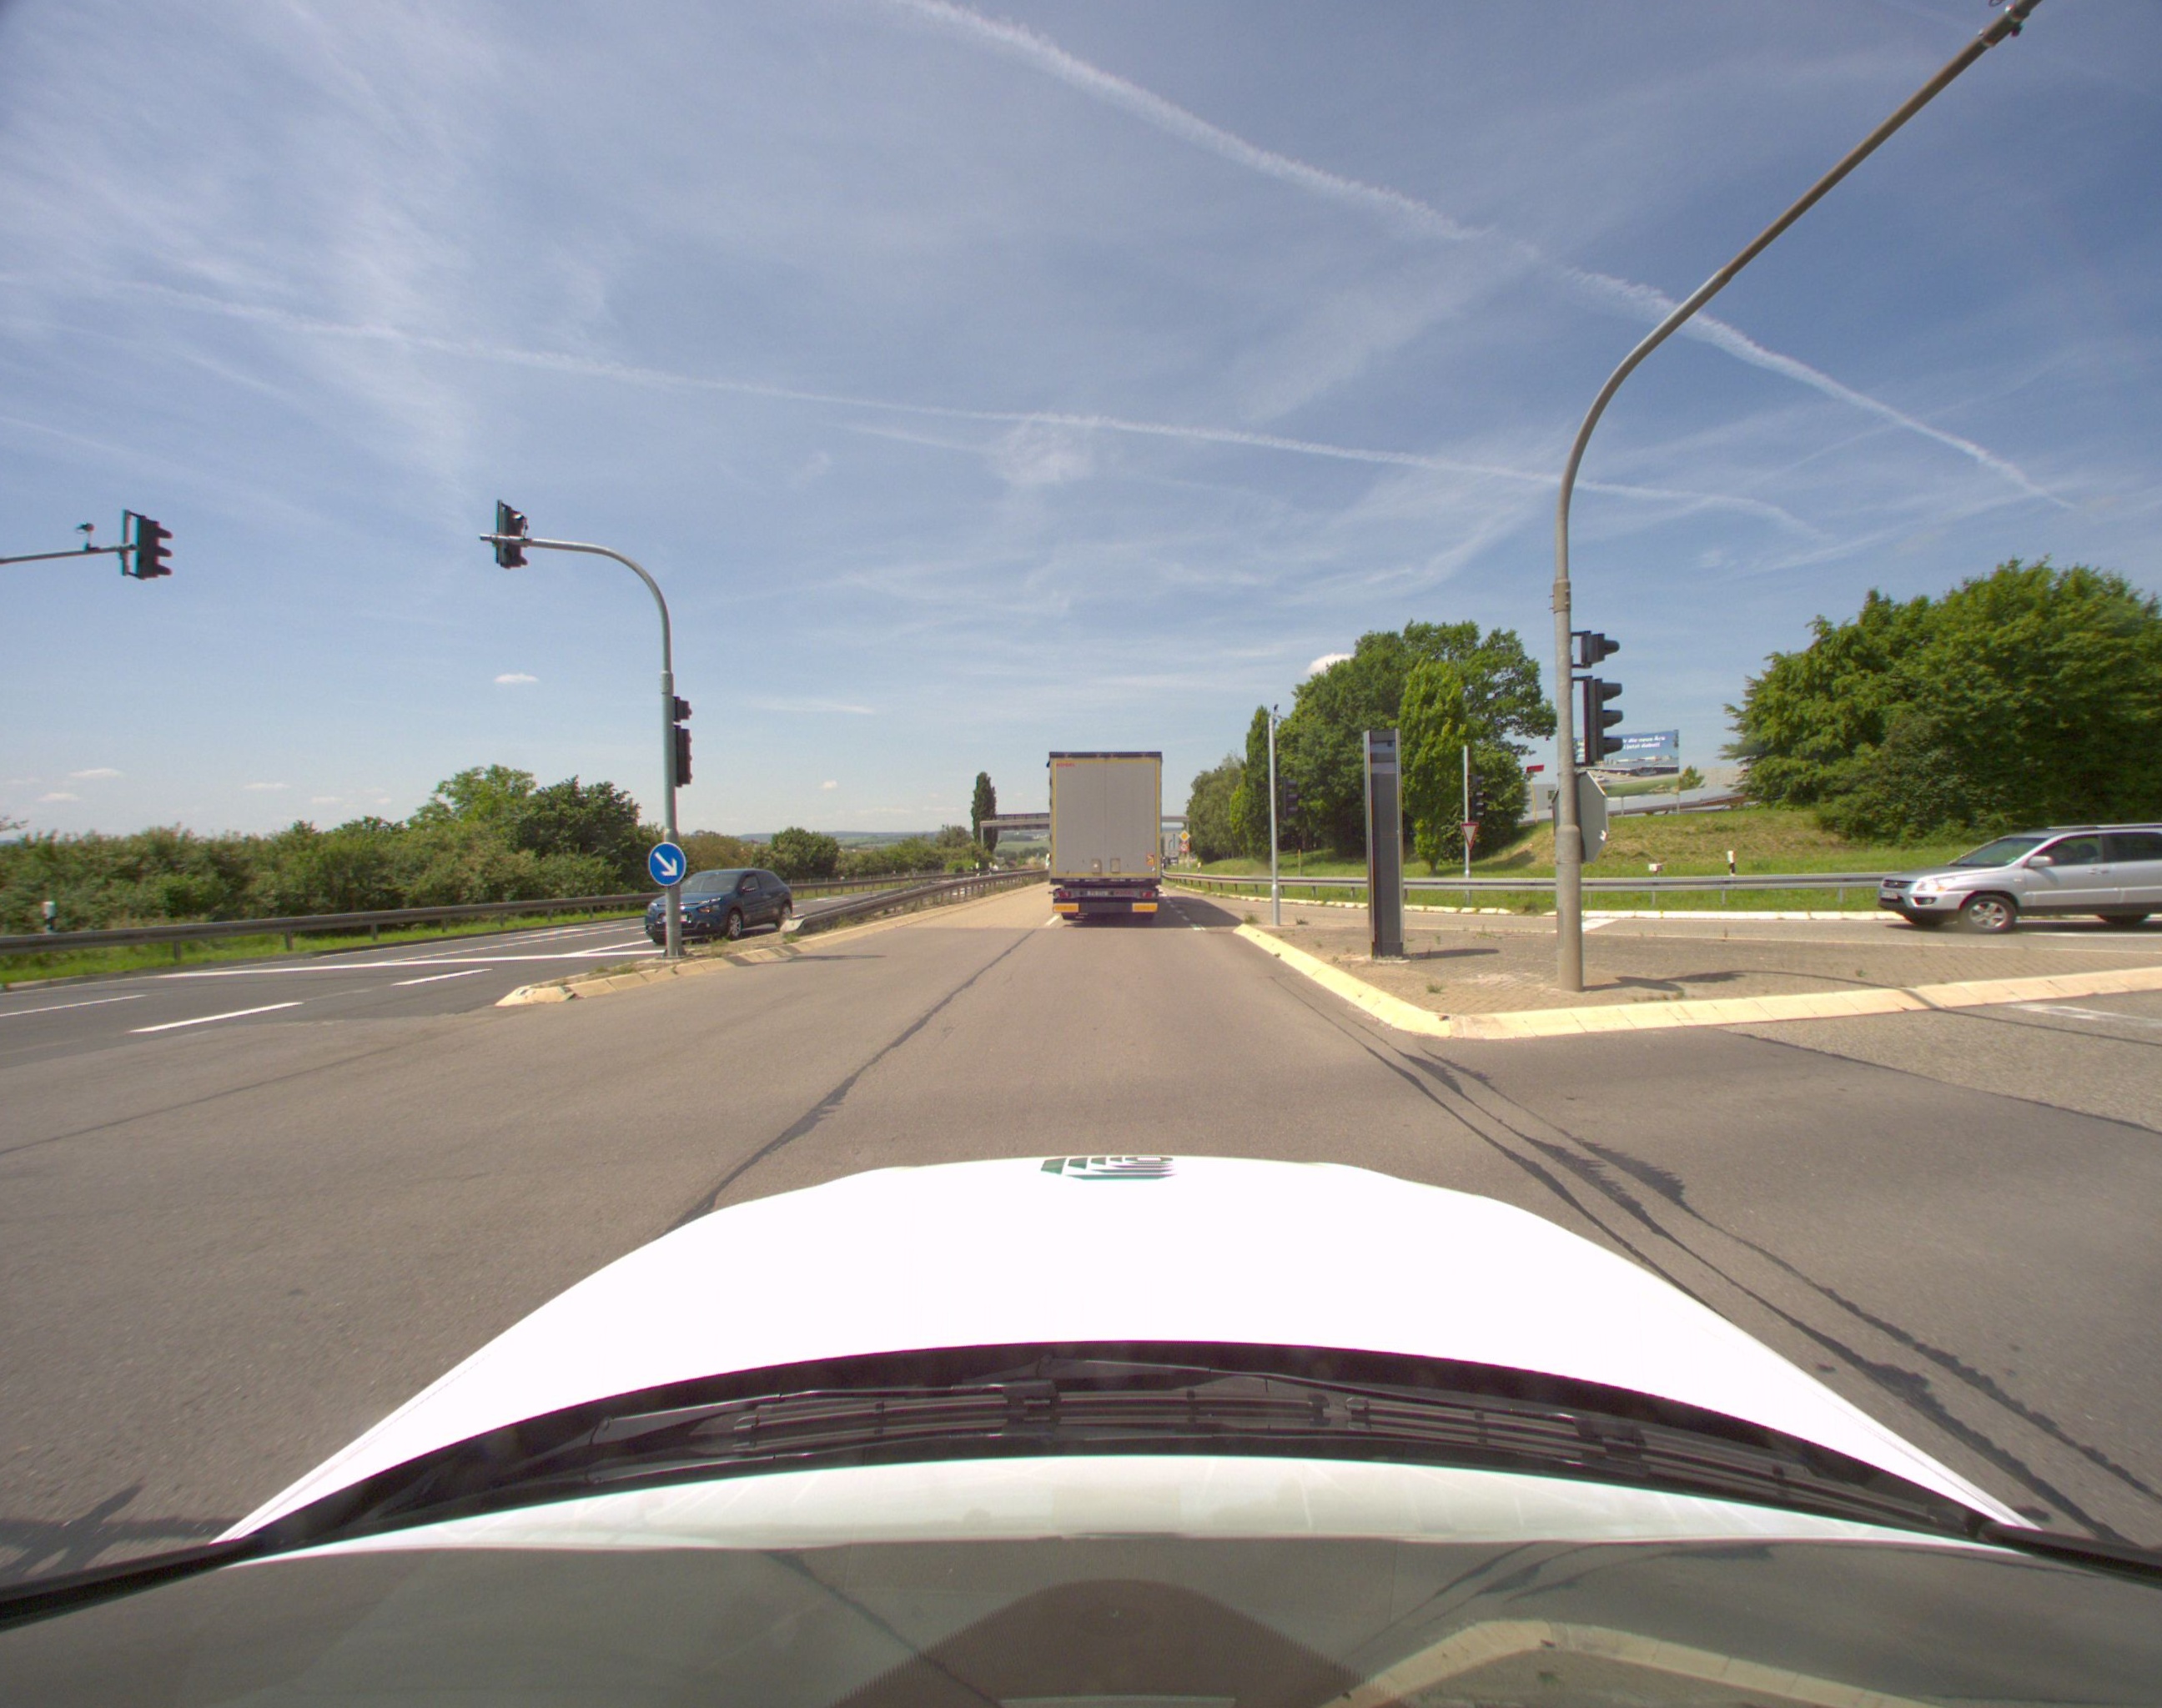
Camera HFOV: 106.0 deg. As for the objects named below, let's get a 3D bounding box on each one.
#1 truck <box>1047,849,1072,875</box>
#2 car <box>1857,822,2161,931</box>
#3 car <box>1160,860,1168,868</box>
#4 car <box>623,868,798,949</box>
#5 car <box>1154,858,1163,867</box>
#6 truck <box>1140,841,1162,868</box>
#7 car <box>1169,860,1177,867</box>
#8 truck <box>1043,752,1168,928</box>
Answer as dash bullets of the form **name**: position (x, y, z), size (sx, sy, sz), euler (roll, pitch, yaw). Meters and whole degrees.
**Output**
- **truck**: position (-2.355, 0.884, 89.834), size (2.031, 2.621, 6.026), euler (-3, -1, 4)
- **car**: position (16.531, 0.371, 13.914), size (4.322, 1.655, 1.846), euler (-3, 0, 20)
- **car**: position (17.879, 2.248, 175.984), size (1.778, 1.688, 4.005), euler (0, -1, 5)
- **car**: position (-7.928, 1.097, 17.923), size (1.748, 1.469, 4.198), euler (-2, -1, 2)
- **car**: position (15.208, 1.608, 159.410), size (1.778, 1.688, 4.005), euler (0, -1, 5)
- **truck**: position (10.152, 0.139, 116.805), size (2.641, 3.765, 10.182), euler (0, -1, 8)
- **car**: position (22.002, 2.341, 194.749), size (1.778, 1.688, 4.005), euler (0, -1, 5)
- **truck**: position (0.620, -0.279, 23.893), size (2.789, 3.929, 11.341), euler (0, 0, 1)
